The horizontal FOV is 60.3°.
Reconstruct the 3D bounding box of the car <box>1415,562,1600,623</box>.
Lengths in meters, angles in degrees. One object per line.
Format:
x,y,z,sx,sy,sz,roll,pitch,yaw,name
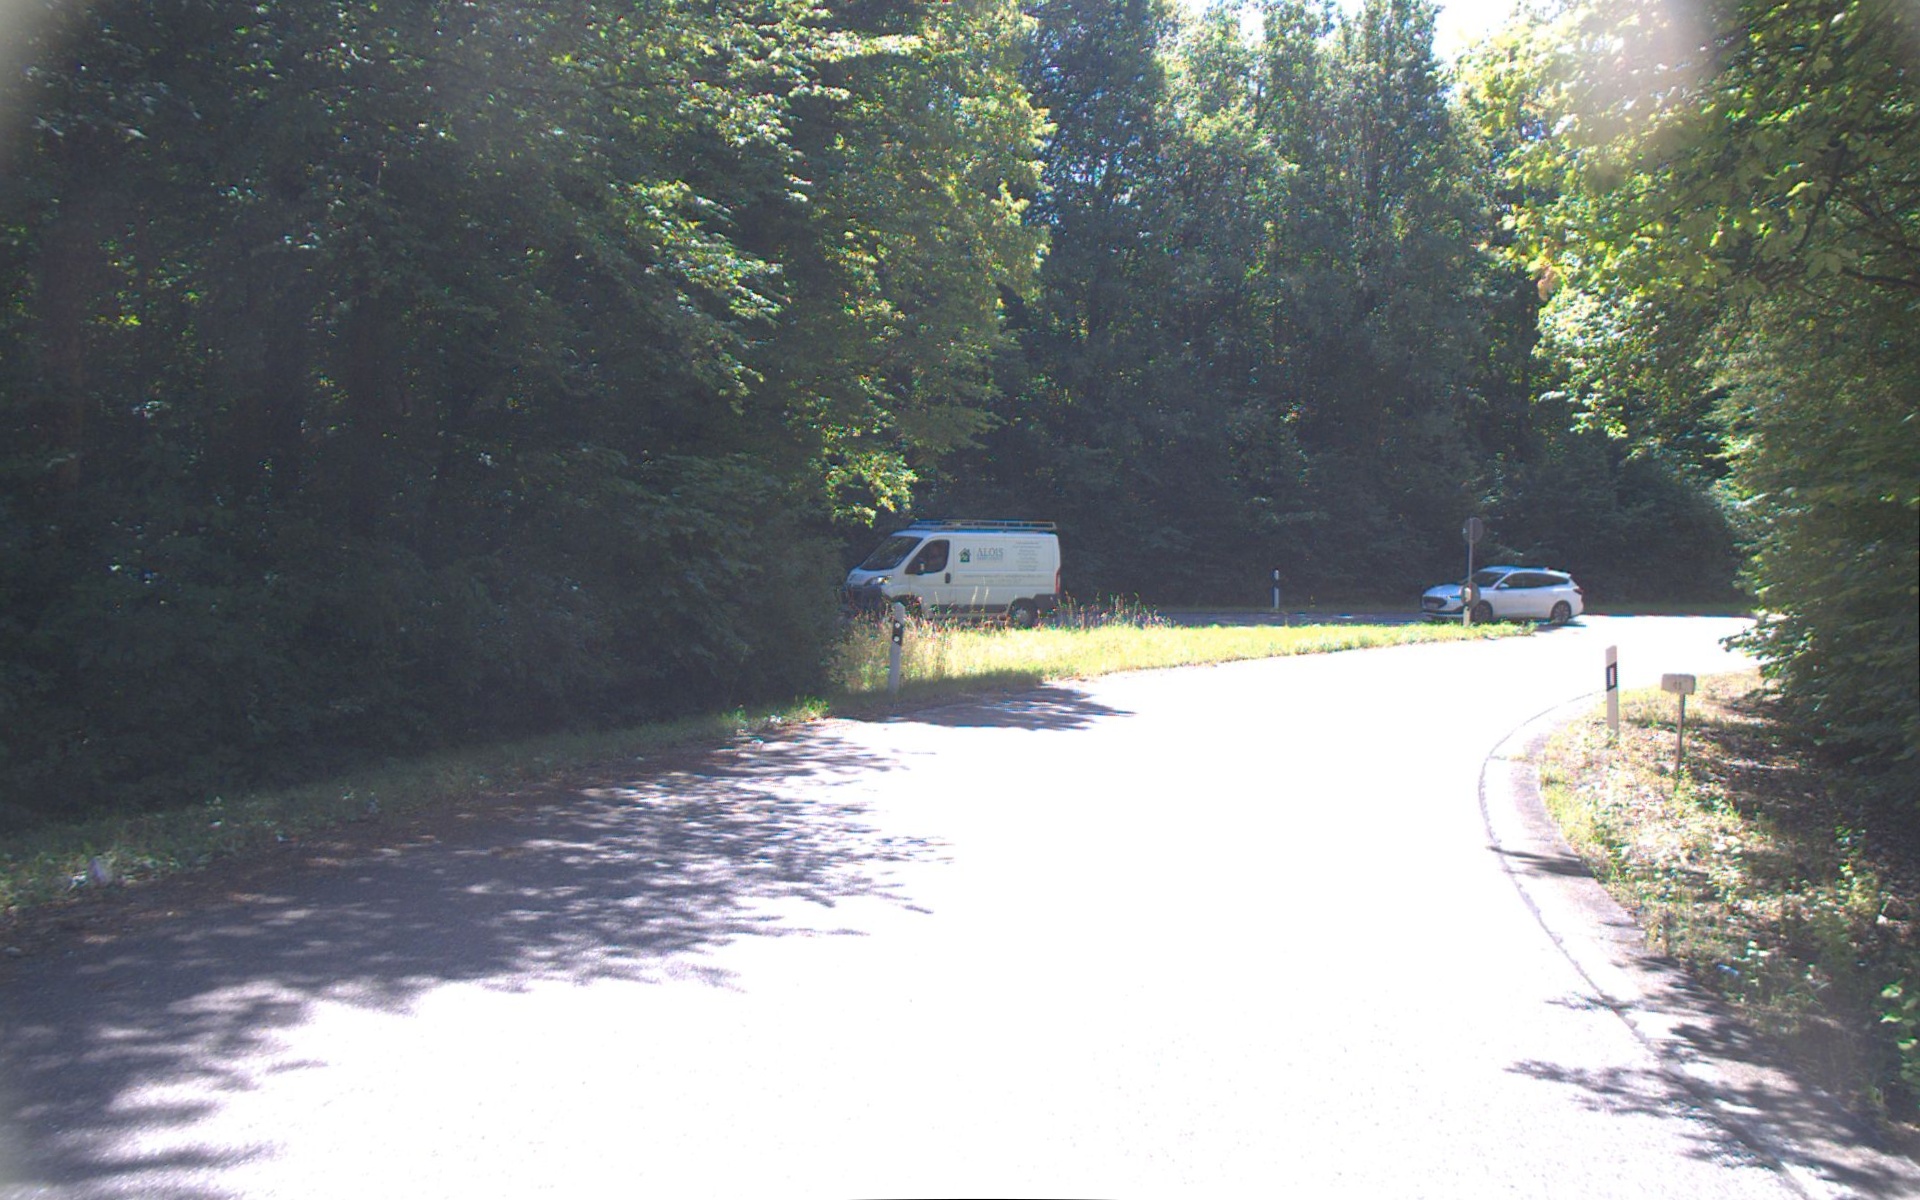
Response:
14.536,-0.227,43.870,4.795,1.477,1.747,-1,4,-26,car

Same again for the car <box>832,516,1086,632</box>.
0.001,-0.628,37.011,5.348,2.386,2.050,-1,4,-29,car

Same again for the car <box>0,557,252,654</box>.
-14.569,0.047,28.184,4.475,1.477,1.745,-1,4,-29,car
